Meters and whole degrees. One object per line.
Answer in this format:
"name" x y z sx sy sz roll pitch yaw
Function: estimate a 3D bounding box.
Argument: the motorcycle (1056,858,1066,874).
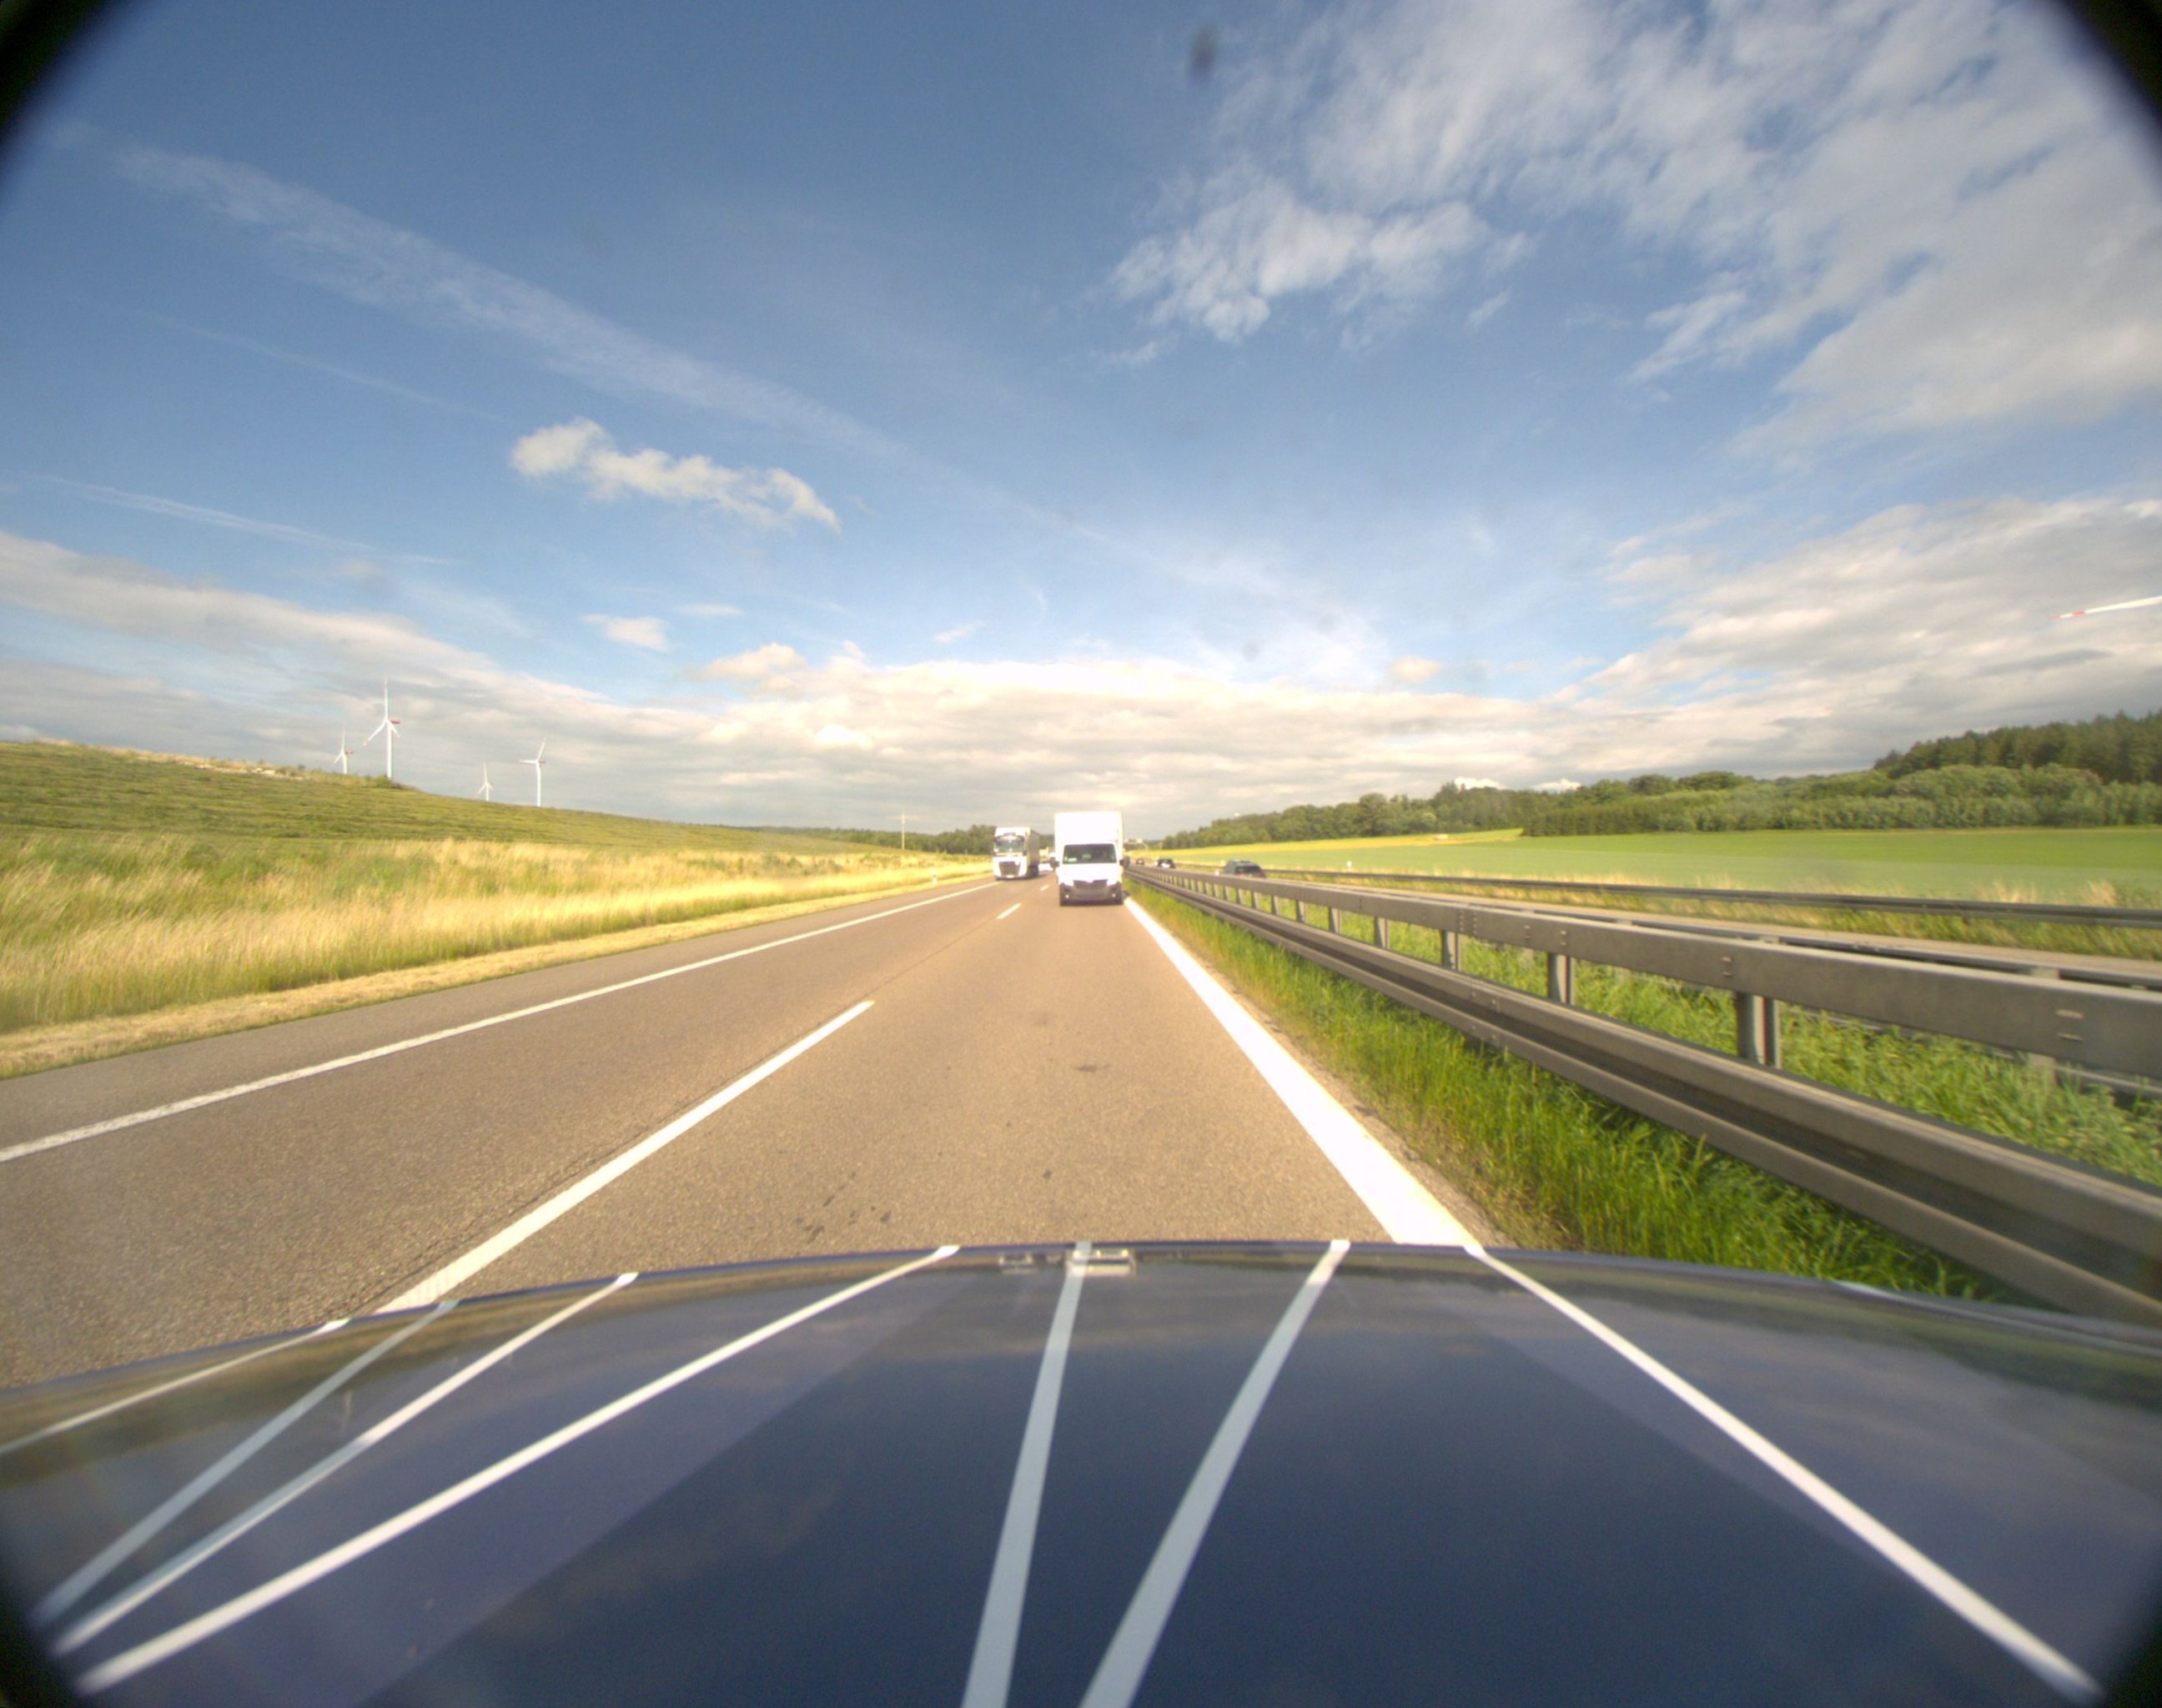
"motorcycle" -1.952 1.190 74.592 0.898 1.447 2.269 -2 1 0

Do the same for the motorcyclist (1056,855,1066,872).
"motorcyclist" -1.953 0.952 74.606 0.898 1.608 1.022 -2 1 0

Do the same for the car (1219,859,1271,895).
"car" 7.748 1.050 36.216 1.601 1.506 4.159 -2 1 1

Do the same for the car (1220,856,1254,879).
"car" 11.671 0.963 57.015 1.739 1.579 4.117 -2 1 1

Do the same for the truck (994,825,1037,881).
"truck" -5.002 -0.125 58.753 2.607 4.017 6.119 -2 1 0

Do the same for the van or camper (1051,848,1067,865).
"van or camper" -3.495 0.407 121.152 2.102 2.530 6.412 -2 1 1

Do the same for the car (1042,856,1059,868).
"car" -3.827 0.998 96.864 1.871 1.409 4.461 -2 1 1

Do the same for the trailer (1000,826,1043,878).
"trailer" -5.012 -0.187 66.551 2.623 4.017 13.697 -2 0 0

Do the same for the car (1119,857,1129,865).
"car" 8.847 1.450 155.099 1.754 1.594 4.265 -2 1 0

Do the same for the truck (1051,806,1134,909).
"truck" 0.347 0.148 29.220 2.502 3.140 11.163 -2 0 0

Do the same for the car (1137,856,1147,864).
"car" 13.063 1.316 162.464 1.754 1.470 4.479 -2 1 0

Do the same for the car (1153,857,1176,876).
"car" 8.243 1.222 75.314 1.827 1.759 4.363 -2 1 1
